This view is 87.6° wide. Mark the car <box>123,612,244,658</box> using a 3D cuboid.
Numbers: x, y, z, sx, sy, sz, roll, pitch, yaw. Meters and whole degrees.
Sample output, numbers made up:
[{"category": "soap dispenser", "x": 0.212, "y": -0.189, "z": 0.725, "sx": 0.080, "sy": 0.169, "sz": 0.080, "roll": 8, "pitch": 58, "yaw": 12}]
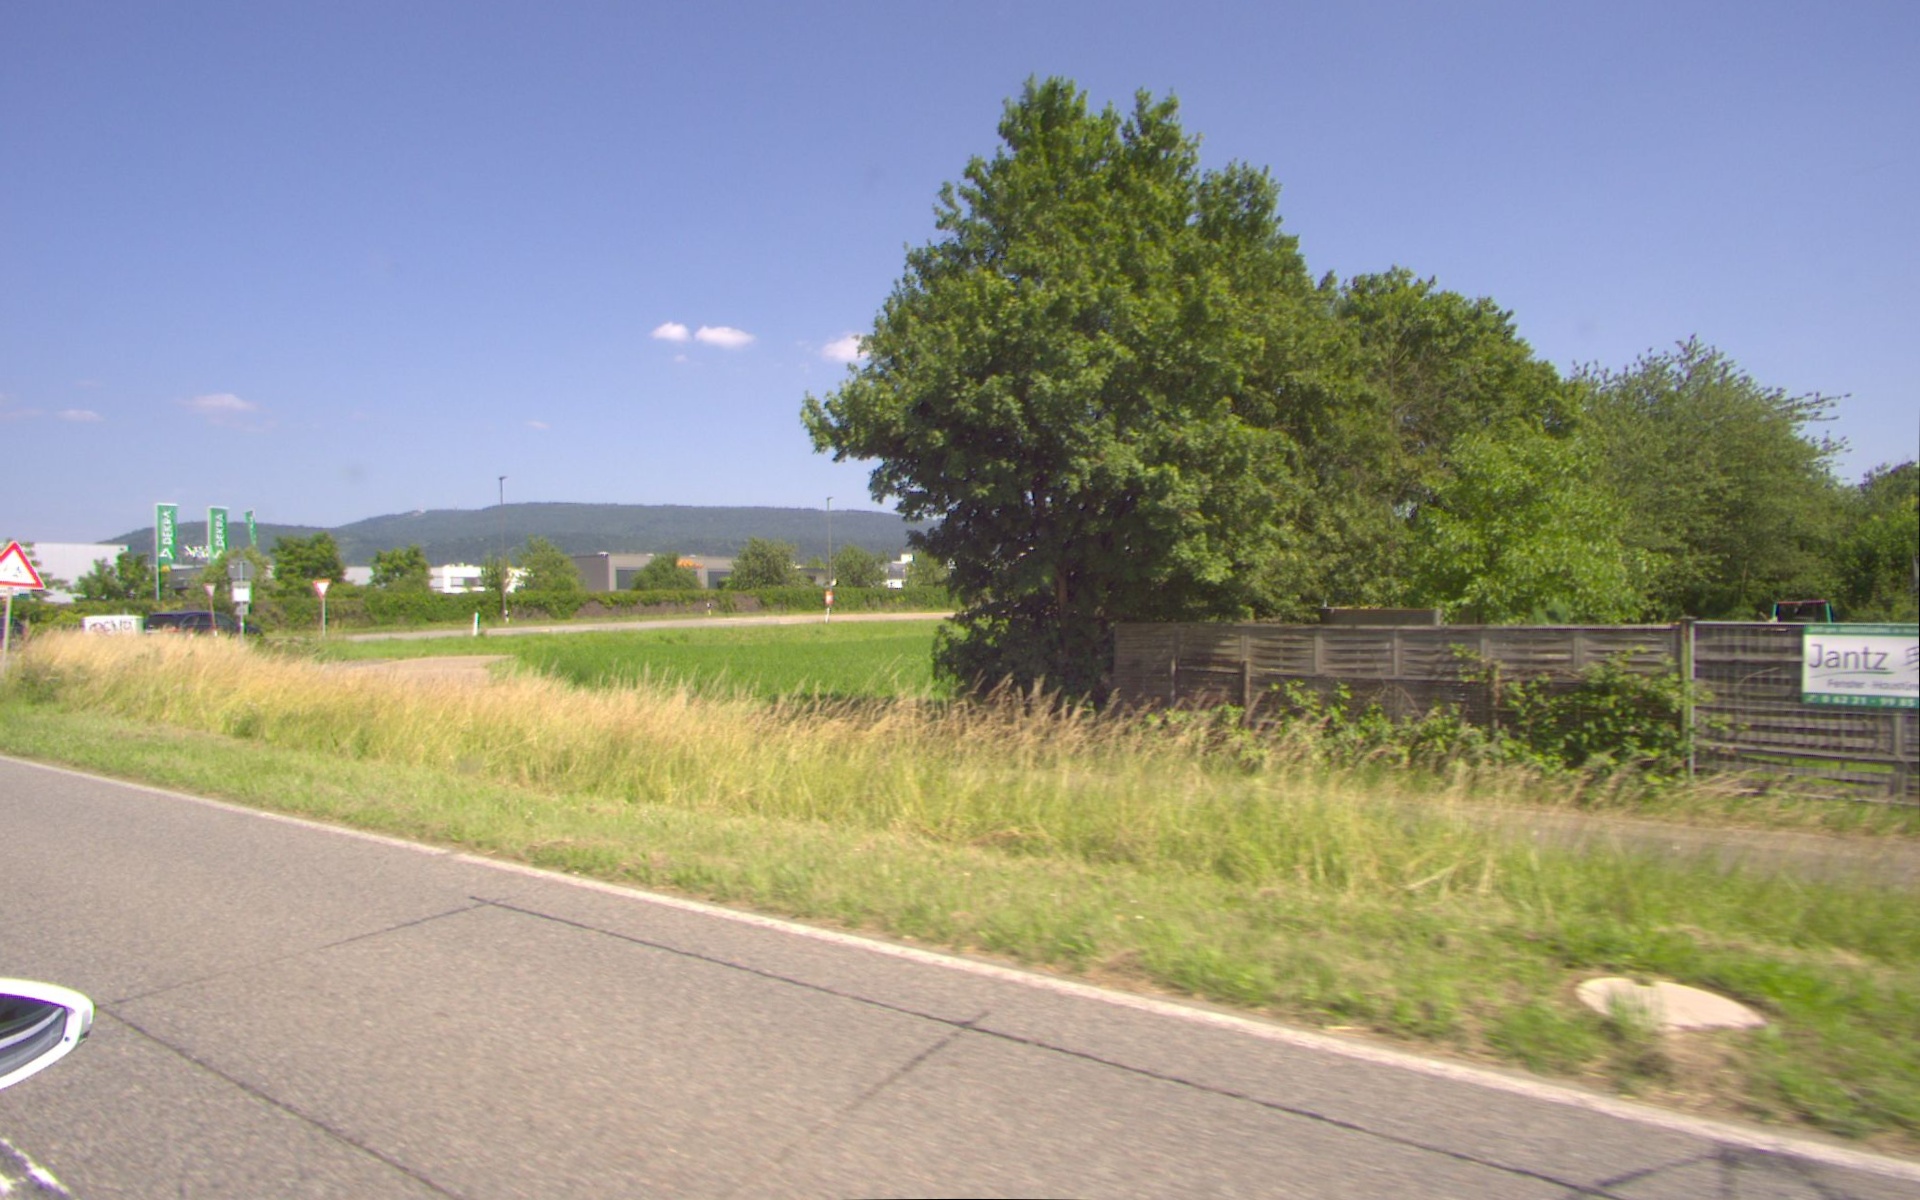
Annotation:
[{"category": "car", "x": -29.292, "y": 1.291, "z": 37.966, "sx": 1.963, "sy": 1.637, "sz": 4.335, "roll": 0, "pitch": -1, "yaw": -13}]

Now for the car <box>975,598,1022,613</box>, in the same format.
[{"category": "car", "x": 3.676, "y": 0.472, "z": 95.097, "sx": 4.327, "sy": 1.345, "sz": 1.791, "roll": -1, "pitch": 1, "yaw": -39}]

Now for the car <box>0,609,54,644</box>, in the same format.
[{"category": "car", "x": -38.356, "y": 1.066, "z": 39.283, "sx": 1.784, "sy": 1.345, "sz": 3.969, "roll": 0, "pitch": 1, "yaw": 39}]
